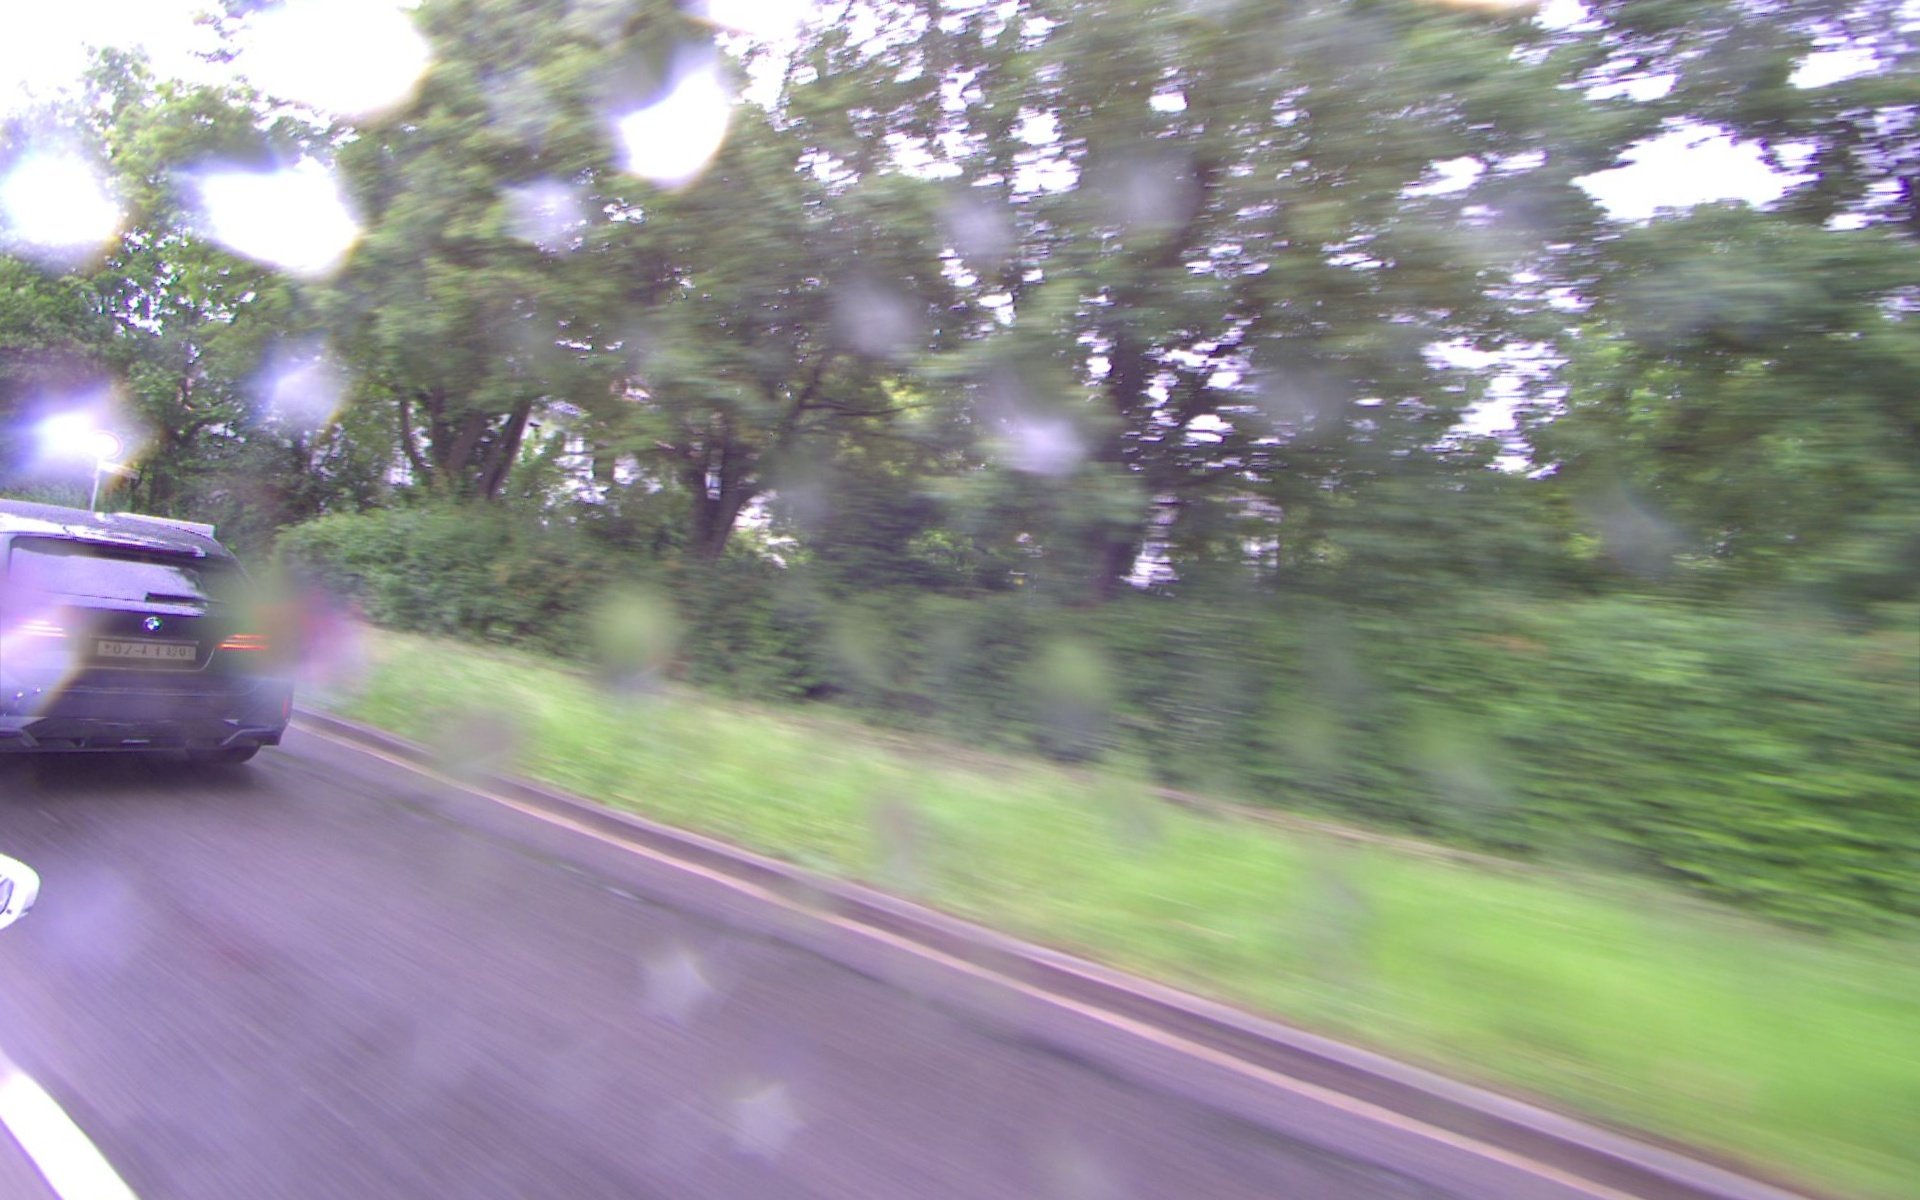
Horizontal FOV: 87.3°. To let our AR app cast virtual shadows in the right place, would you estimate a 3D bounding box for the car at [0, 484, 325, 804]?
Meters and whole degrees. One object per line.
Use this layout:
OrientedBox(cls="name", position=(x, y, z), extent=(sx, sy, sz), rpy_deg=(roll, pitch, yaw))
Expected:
OrientedBox(cls="car", position=(-5.873, 0.108, 6.331), extent=(3.614, 1.554, 1.767), rpy_deg=(7, -2, 35))
